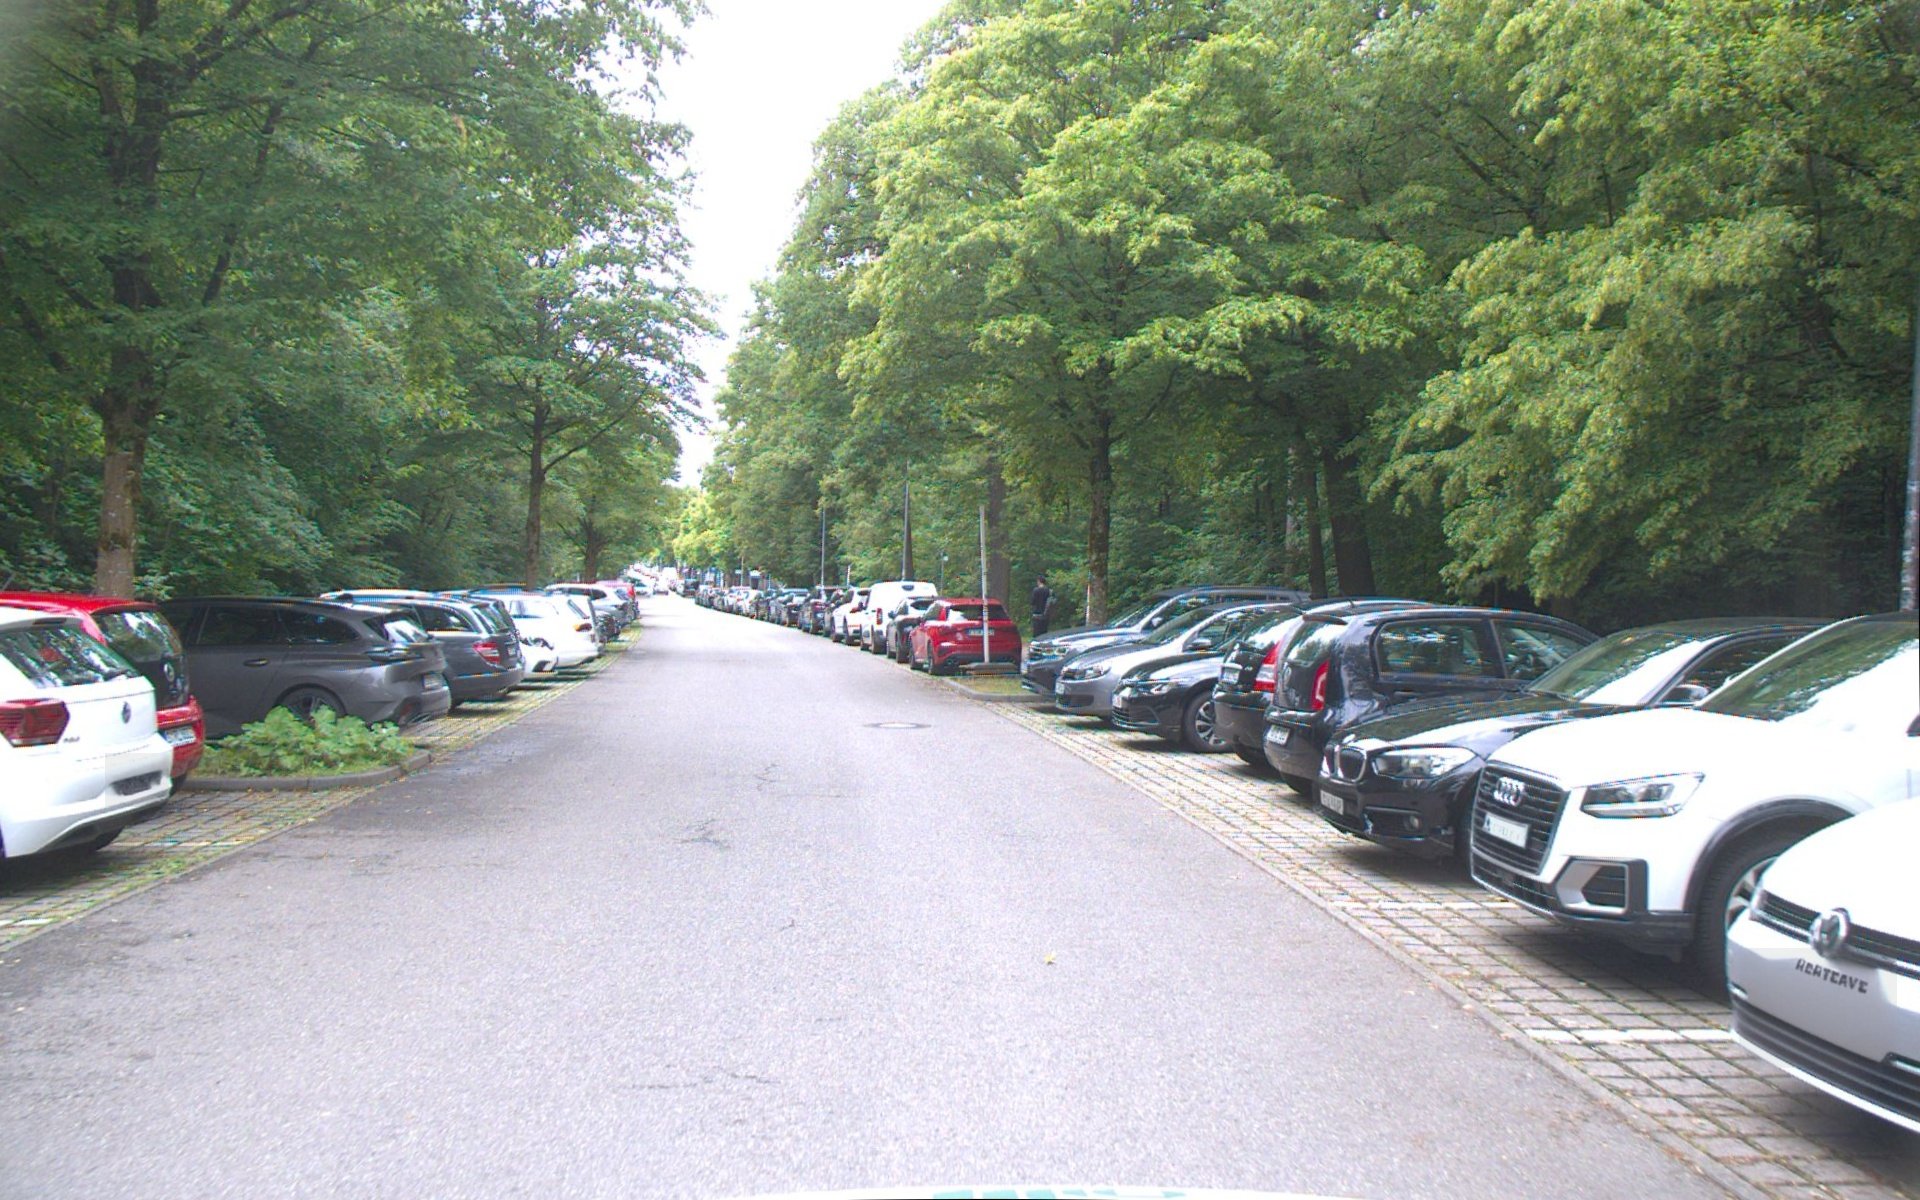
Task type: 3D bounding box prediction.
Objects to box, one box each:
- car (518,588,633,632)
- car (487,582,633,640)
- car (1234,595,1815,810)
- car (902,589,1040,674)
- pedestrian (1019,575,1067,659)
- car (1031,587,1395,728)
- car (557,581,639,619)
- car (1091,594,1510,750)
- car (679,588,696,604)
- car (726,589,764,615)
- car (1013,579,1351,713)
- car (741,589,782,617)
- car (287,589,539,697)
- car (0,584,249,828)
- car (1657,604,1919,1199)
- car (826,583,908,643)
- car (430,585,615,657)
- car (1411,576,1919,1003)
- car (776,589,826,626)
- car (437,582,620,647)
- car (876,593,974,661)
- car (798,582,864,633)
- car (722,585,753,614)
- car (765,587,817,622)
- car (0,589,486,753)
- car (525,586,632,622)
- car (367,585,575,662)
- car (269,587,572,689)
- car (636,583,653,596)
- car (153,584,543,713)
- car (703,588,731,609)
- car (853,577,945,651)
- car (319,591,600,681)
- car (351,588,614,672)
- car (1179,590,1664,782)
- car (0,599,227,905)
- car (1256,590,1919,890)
[{"bbox_3d":[-14.017,0.370,60.378,4.020,1.550,1.922,0,0,-14],"label":"car"},{"bbox_3d":[-12.099,0.315,50.310,4.147,1.661,2.024,1,0,-10],"label":"car"},{"bbox_3d":[4.127,0.711,12.473,3.752,1.483,1.807,0,0,-5],"label":"car"},{"bbox_3d":[0.122,0.564,32.518,1.956,1.505,4.962,1,0,-9],"label":"car"},{"bbox_3d":[1.761,0.356,35.146,0.802,1.756,1.002,1,0,-9],"label":"pedestrian"},{"bbox_3d":[2.995,0.668,19.989,3.917,1.579,1.970,1,0,-12],"label":"car"},{"bbox_3d":[-18.029,-0.011,82.300,3.920,1.848,2.107,0,0,-15],"label":"car"},{"bbox_3d":[3.484,0.719,17.390,3.910,1.501,1.950,1,0,-6],"label":"car"},{"bbox_3d":[-29.343,-0.431,178.159,1.600,1.440,3.401,2,3,-12],"label":"car"},{"bbox_3d":[-13.010,0.105,99.974,1.694,1.520,3.757,1,0,-17],"label":"car"},{"bbox_3d":[2.937,0.600,22.400,4.184,1.695,1.955,1,0,-7],"label":"car"},{"bbox_3d":[-11.336,0.158,94.347,1.903,1.501,3.979,1,0,-13],"label":"car"},{"bbox_3d":[-7.693,0.591,23.524,3.159,1.469,1.677,0,0,-10],"label":"car"},{"bbox_3d":[-6.793,0.658,11.018,3.397,1.507,1.682,0,0,-4],"label":"car"},{"bbox_3d":[4.347,0.813,4.746,3.900,1.509,1.882,1,1,-7],"label":"car"},{"bbox_3d":[-2.822,0.362,49.395,1.754,1.691,4.703,1,0,-12],"label":"car"},{"bbox_3d":[-9.997,0.477,38.060,3.962,1.582,1.914,0,0,-11],"label":"car"},{"bbox_3d":[4.237,0.725,7.281,3.928,1.586,1.977,1,1,-2],"label":"car"},{"bbox_3d":[-6.853,0.296,71.175,1.608,1.503,4.137,1,0,-13],"label":"car"},{"bbox_3d":[-11.123,0.365,42.936,4.433,1.612,1.922,0,0,-11],"label":"car"},{"bbox_3d":[-0.861,0.577,38.056,1.693,1.447,4.275,1,0,-9],"label":"car"},{"bbox_3d":[-4.791,0.238,60.784,1.856,1.777,4.935,1,0,-11],"label":"car"},{"bbox_3d":[-14.161,-0.031,105.276,1.680,1.758,3.989,1,0,-11],"label":"car"},{"bbox_3d":[-7.895,0.195,76.919,1.943,1.564,4.608,1,0,-12],"label":"car"},{"bbox_3d":[-6.966,0.642,15.843,4.319,1.449,2.033,0,0,-5],"label":"car"},{"bbox_3d":[-17.254,0.177,74.872,4.649,1.623,1.953,0,0,-13],"label":"car"},{"bbox_3d":[-10.376,0.487,35.358,4.164,1.578,1.840,0,0,-15],"label":"car"},{"bbox_3d":[-8.313,0.576,25.862,4.288,1.512,1.886,0,0,-12],"label":"car"},{"bbox_3d":[-33.354,-1.115,174.779,1.707,1.182,3.404,2,3,-10],"label":"car"},{"bbox_3d":[-7.562,0.582,20.821,4.183,1.512,2.055,0,0,-5],"label":"car"},{"bbox_3d":[-18.316,-0.141,124.463,1.886,1.547,3.877,1,0,-11],"label":"car"},{"bbox_3d":[-1.661,0.328,43.309,1.713,1.811,4.540,1,0,-11],"label":"car"},{"bbox_3d":[-8.516,0.597,28.565,4.483,1.472,2.079,0,0,-13],"label":"car"},{"bbox_3d":[-8.818,0.535,30.888,4.478,1.512,1.866,0,0,-9],"label":"car"},{"bbox_3d":[4.000,0.698,14.708,3.753,1.558,1.848,0,0,-6],"label":"car"},{"bbox_3d":[-6.109,0.726,8.732,3.652,1.444,1.871,0,0,-4],"label":"car"},{"bbox_3d":[4.032,0.751,9.804,4.107,1.538,1.891,1,1,-7],"label":"car"}]
